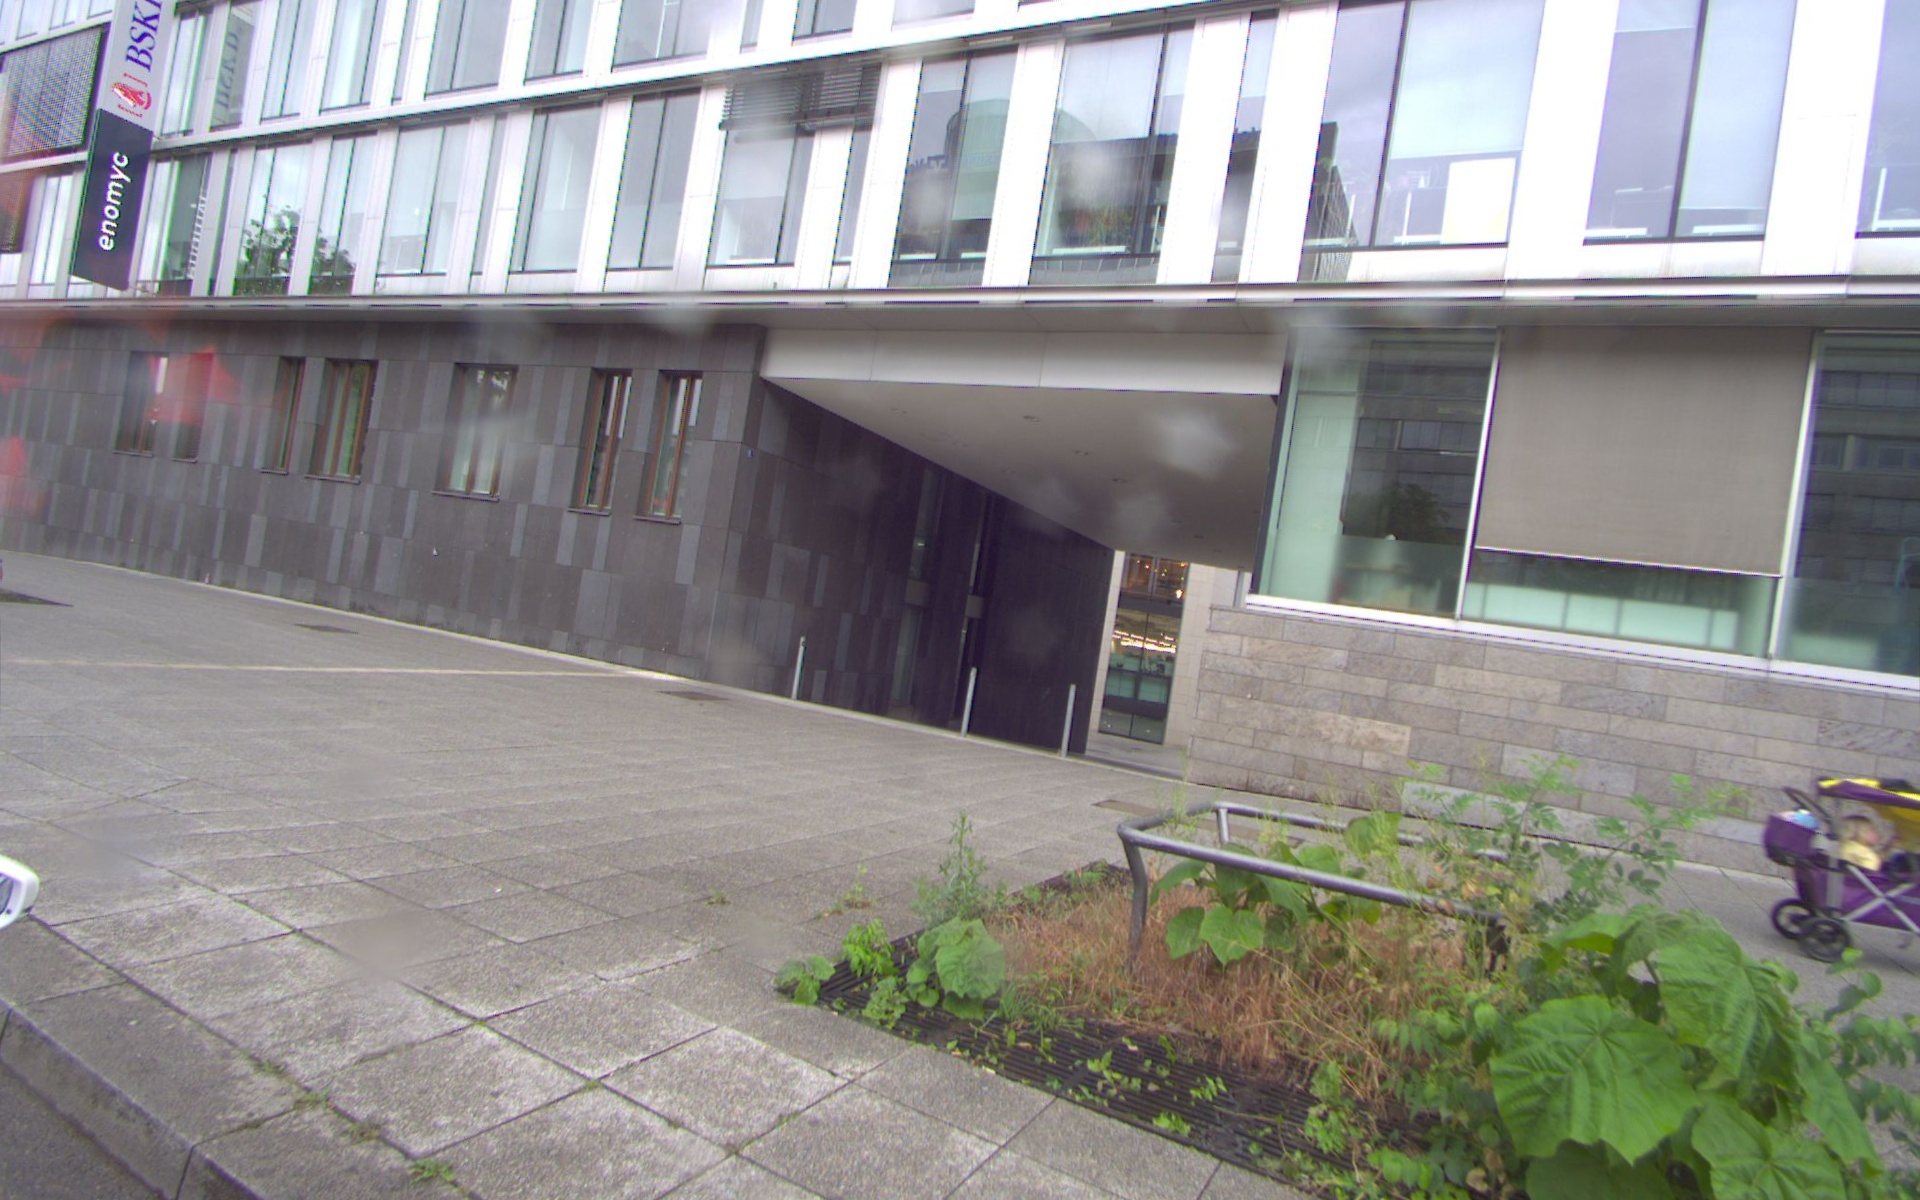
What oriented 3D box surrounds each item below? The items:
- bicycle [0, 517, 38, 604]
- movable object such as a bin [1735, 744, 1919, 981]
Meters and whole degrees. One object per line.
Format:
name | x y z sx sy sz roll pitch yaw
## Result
bicycle | -13.068 -0.639 12.262 0.665 1.069 2.543 7 -2 27
movable object such as a bin | 6.054 1.718 6.493 1.419 1.279 0.733 9 0 29
